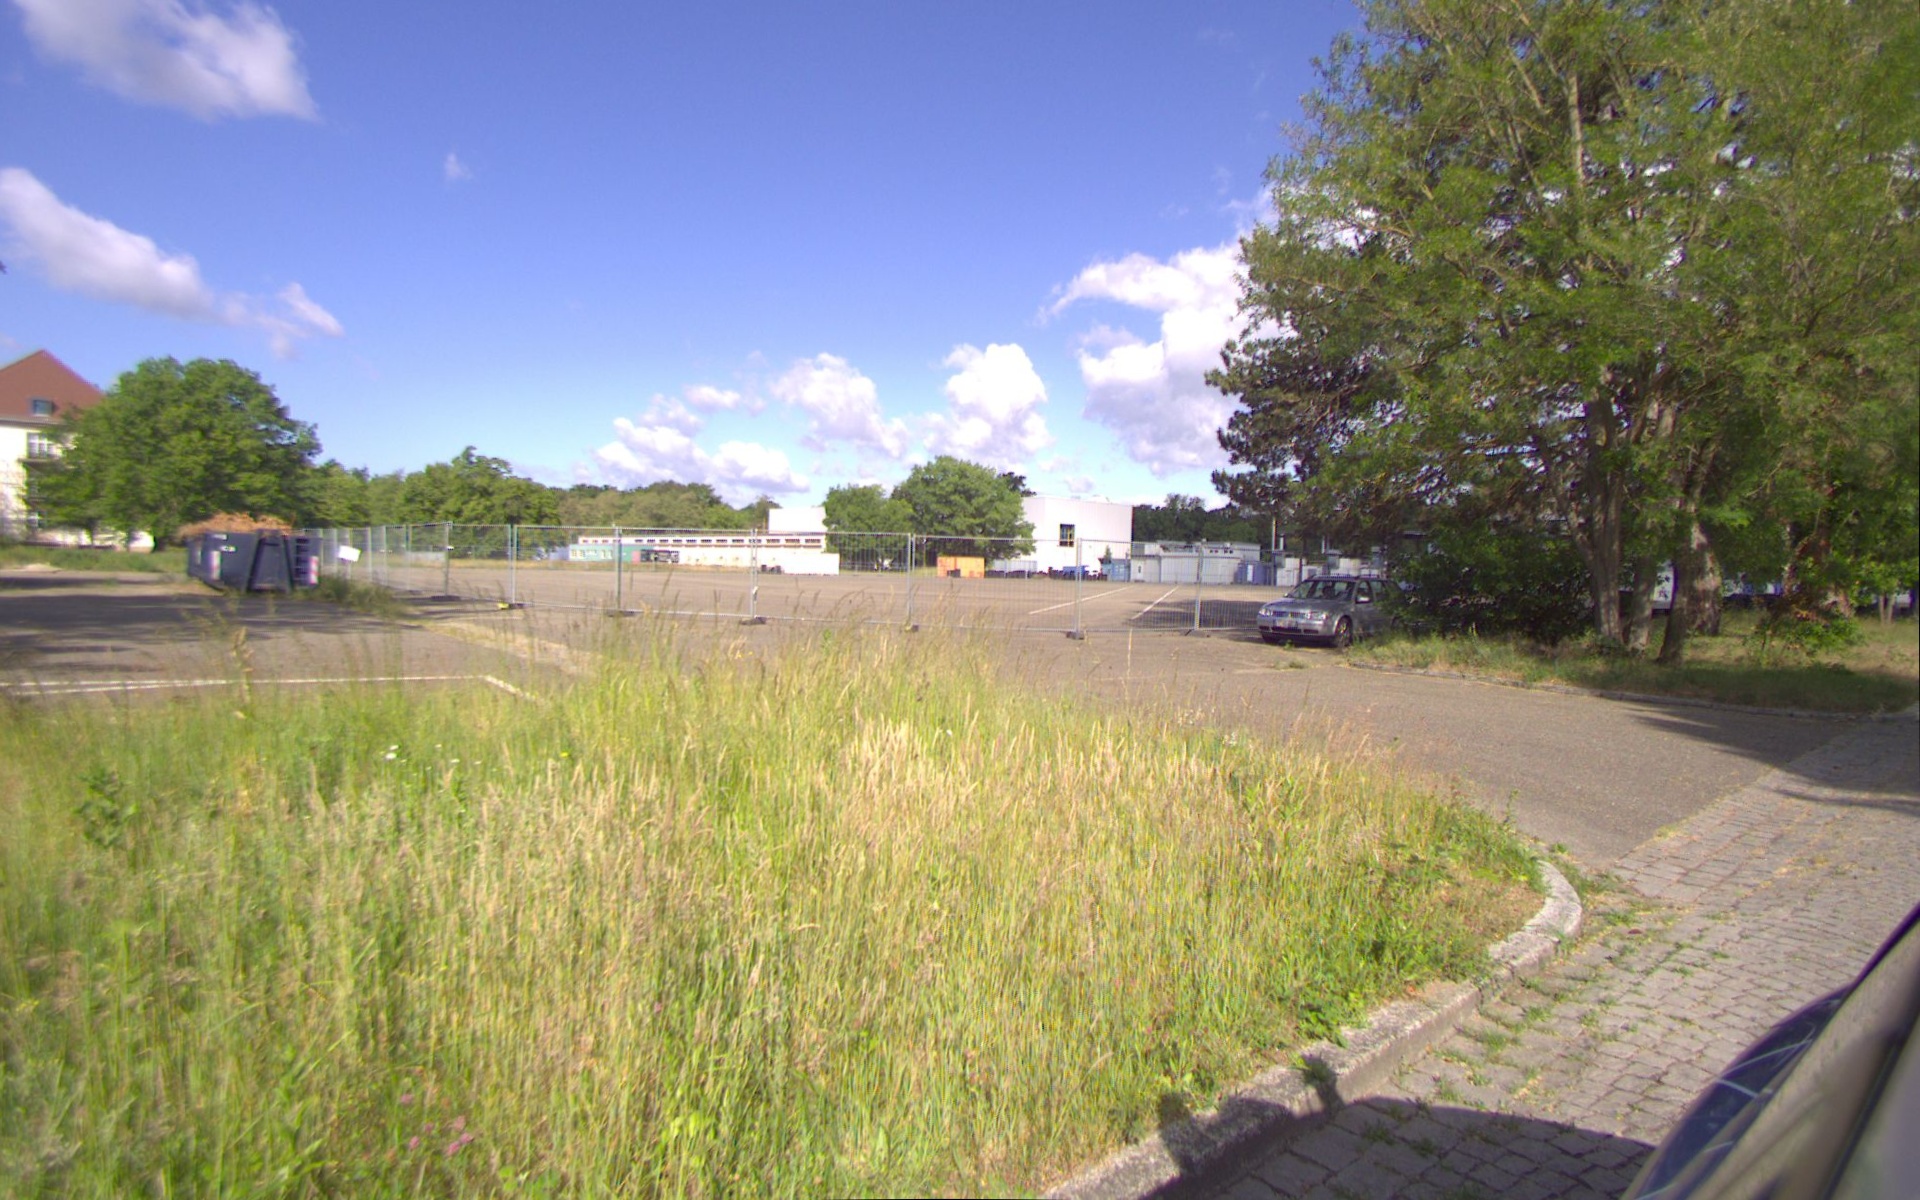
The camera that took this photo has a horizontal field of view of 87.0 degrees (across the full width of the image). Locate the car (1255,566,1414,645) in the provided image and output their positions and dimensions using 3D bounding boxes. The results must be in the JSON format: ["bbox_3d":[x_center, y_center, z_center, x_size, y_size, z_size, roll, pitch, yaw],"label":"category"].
[{"bbox_3d":[7.907,0.070,21.202,3.921,1.461,1.576,0,3,-44],"label":"car"}]
